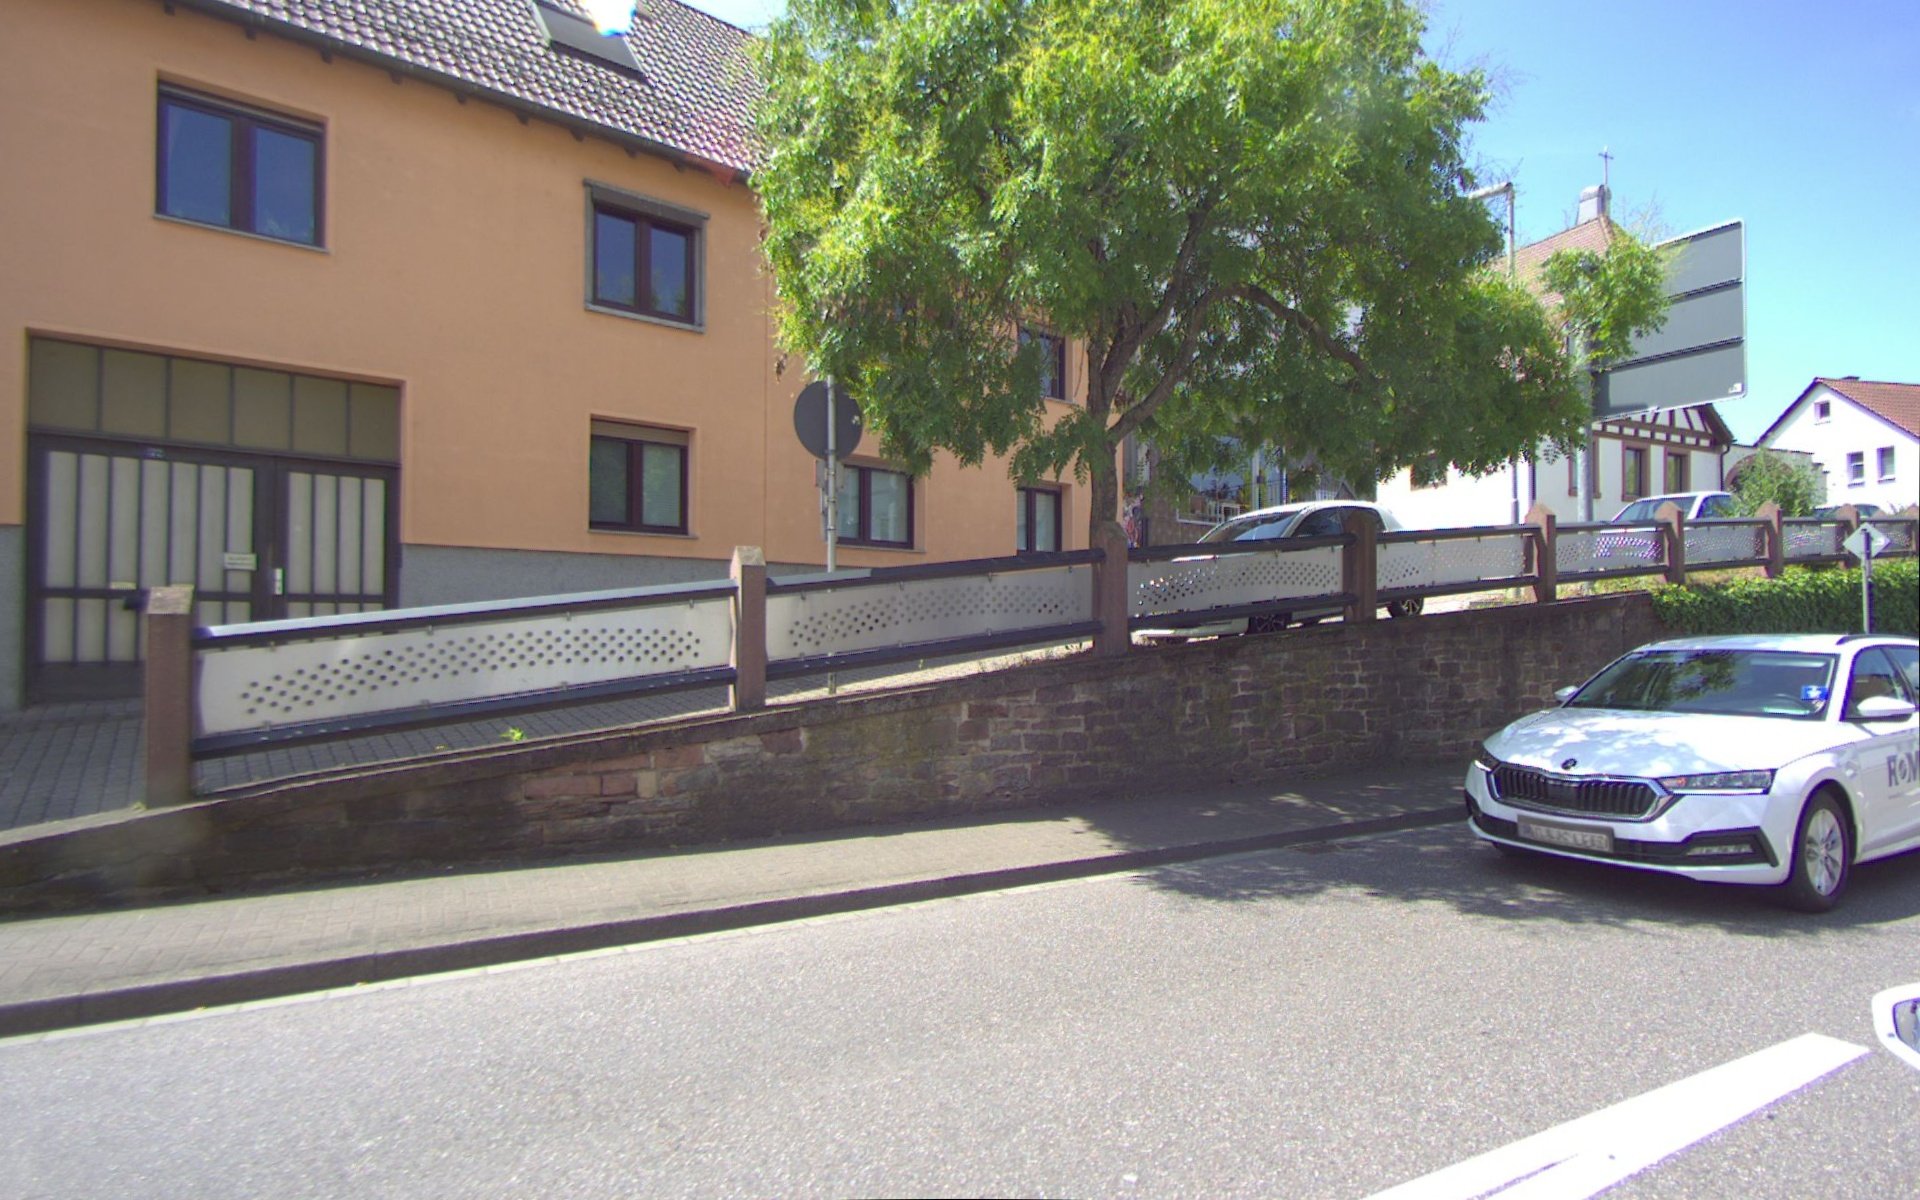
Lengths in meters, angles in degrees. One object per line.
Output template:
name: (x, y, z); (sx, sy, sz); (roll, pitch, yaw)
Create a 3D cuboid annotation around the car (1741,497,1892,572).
car: (19.617, -1.517, 22.973); (3.813, 1.380, 1.568); (-6, 2, -33)

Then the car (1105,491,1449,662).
car: (3.731, -0.323, 11.623); (3.813, 1.564, 1.684); (-6, 2, -33)

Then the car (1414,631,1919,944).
car: (5.213, 0.965, 6.659); (4.378, 1.465, 1.805); (1, -3, -30)

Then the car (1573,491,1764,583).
car: (13.247, -1.198, 18.725); (3.813, 1.380, 1.568); (-6, 2, -33)
